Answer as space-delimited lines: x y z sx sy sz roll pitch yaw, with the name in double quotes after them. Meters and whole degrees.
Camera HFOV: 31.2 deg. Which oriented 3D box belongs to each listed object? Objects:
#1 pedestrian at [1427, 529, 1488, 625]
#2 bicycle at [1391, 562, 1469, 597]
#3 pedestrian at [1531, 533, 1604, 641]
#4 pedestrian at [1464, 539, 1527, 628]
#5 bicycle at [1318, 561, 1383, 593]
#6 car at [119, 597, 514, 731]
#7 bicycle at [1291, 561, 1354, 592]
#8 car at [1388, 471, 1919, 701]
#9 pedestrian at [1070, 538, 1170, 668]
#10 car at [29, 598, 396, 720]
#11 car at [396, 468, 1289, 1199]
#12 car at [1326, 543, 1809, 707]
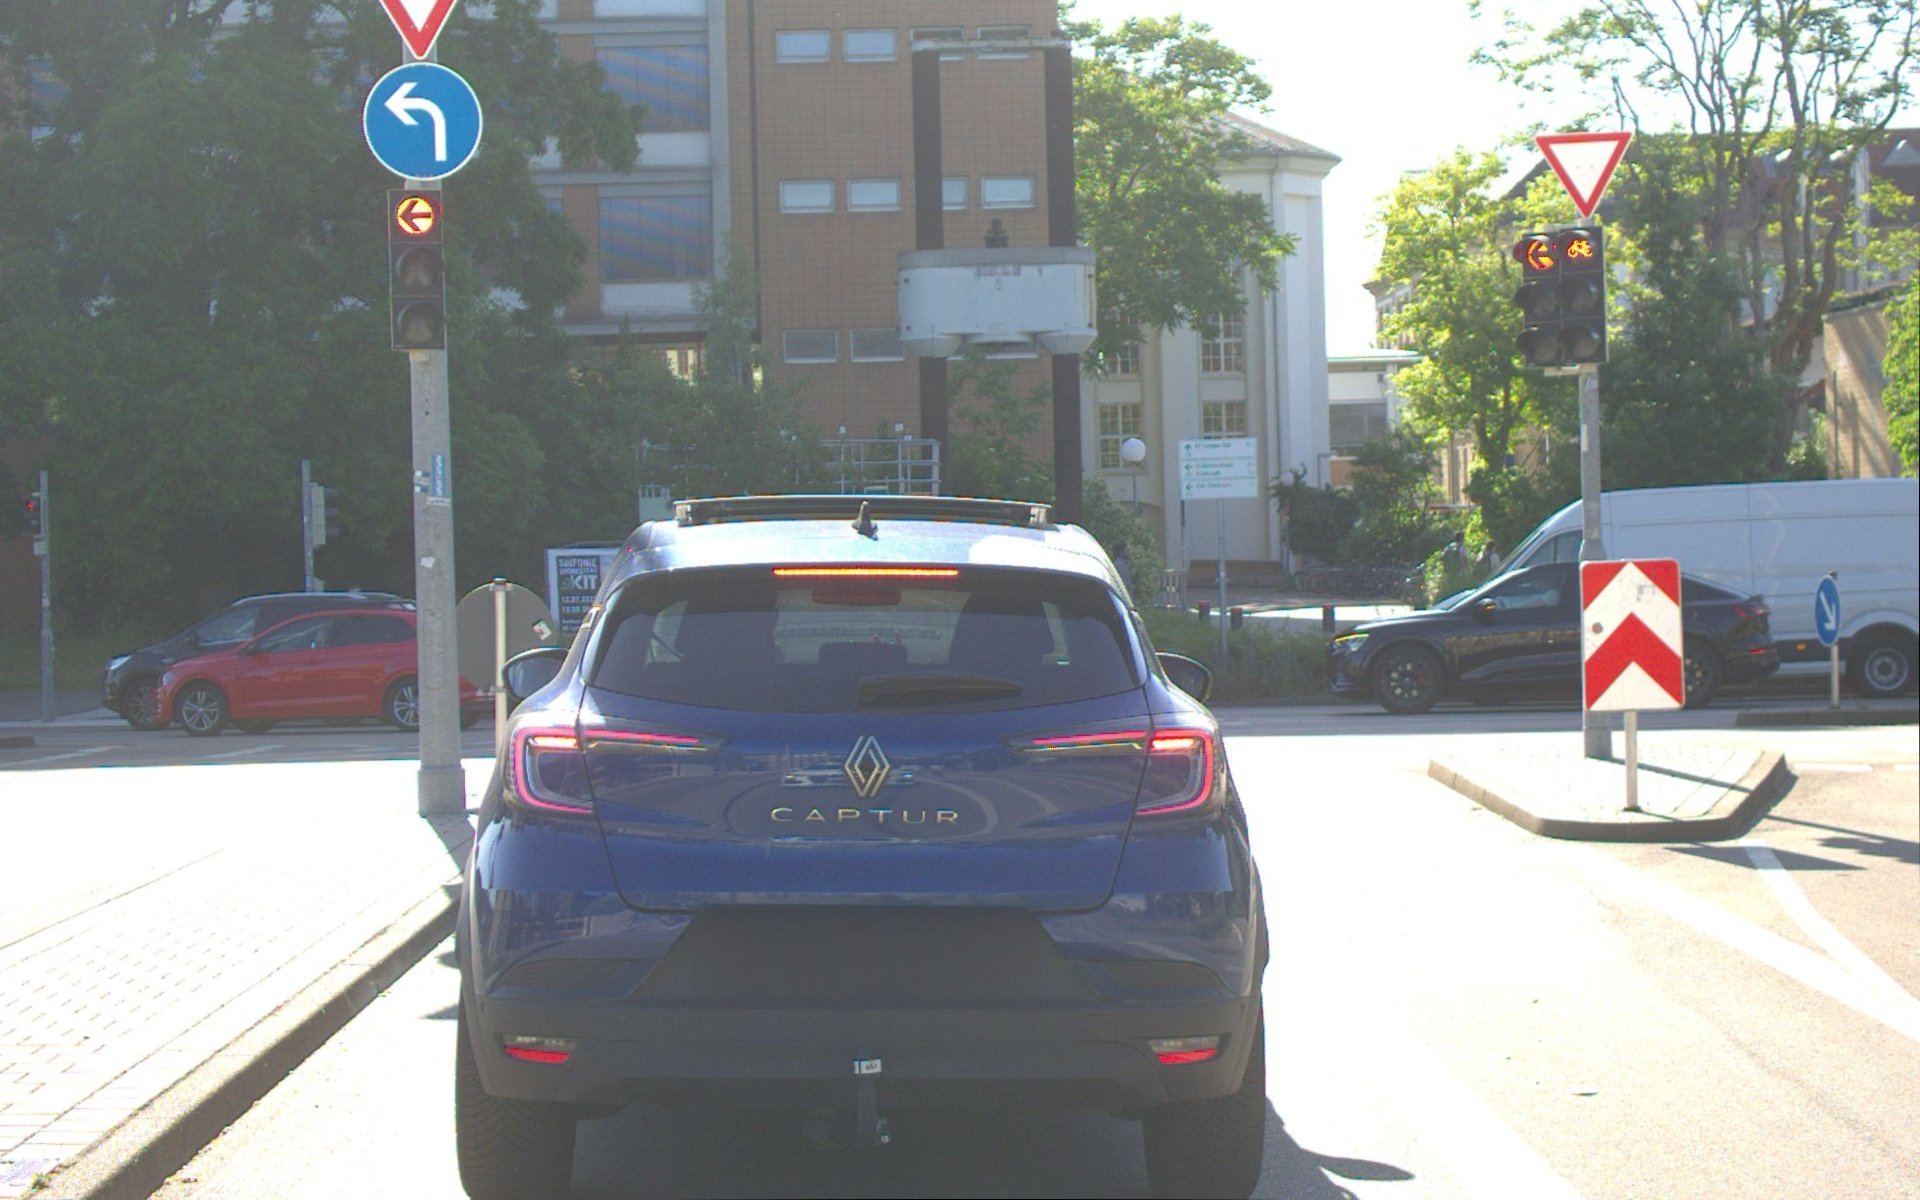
9.217 -0.433 63.762 0.953 1.735 0.984 -1 1 0 "pedestrian"
11.835 -0.517 86.620 1.770 0.820 0.766 -1 1 -10 "bicycle"
11.535 -0.250 65.314 1.156 2.007 1.164 -1 1 0 "pedestrian"
9.869 -0.302 63.423 0.936 1.607 1.176 -1 1 0 "pedestrian"
11.182 -0.661 98.421 1.771 0.895 0.765 -1 1 0 "bicycle"
-7.488 0.739 40.202 4.046 1.434 2.065 -1 1 10 "car"
10.836 -0.703 102.784 1.771 0.890 0.765 -1 1 0 "bicycle"
8.664 -0.180 41.051 6.937 2.538 3.012 -1 1 9 "car"
2.333 0.036 50.013 1.298 1.849 0.965 -1 1 11 "pedestrian"
-9.487 0.746 43.776 4.047 1.434 2.064 -1 1 15 "car"
-0.292 0.525 8.876 1.794 1.649 3.853 0 1 -2 "car"
6.536 0.266 37.438 5.031 1.667 1.999 1 -1 7 "car"
